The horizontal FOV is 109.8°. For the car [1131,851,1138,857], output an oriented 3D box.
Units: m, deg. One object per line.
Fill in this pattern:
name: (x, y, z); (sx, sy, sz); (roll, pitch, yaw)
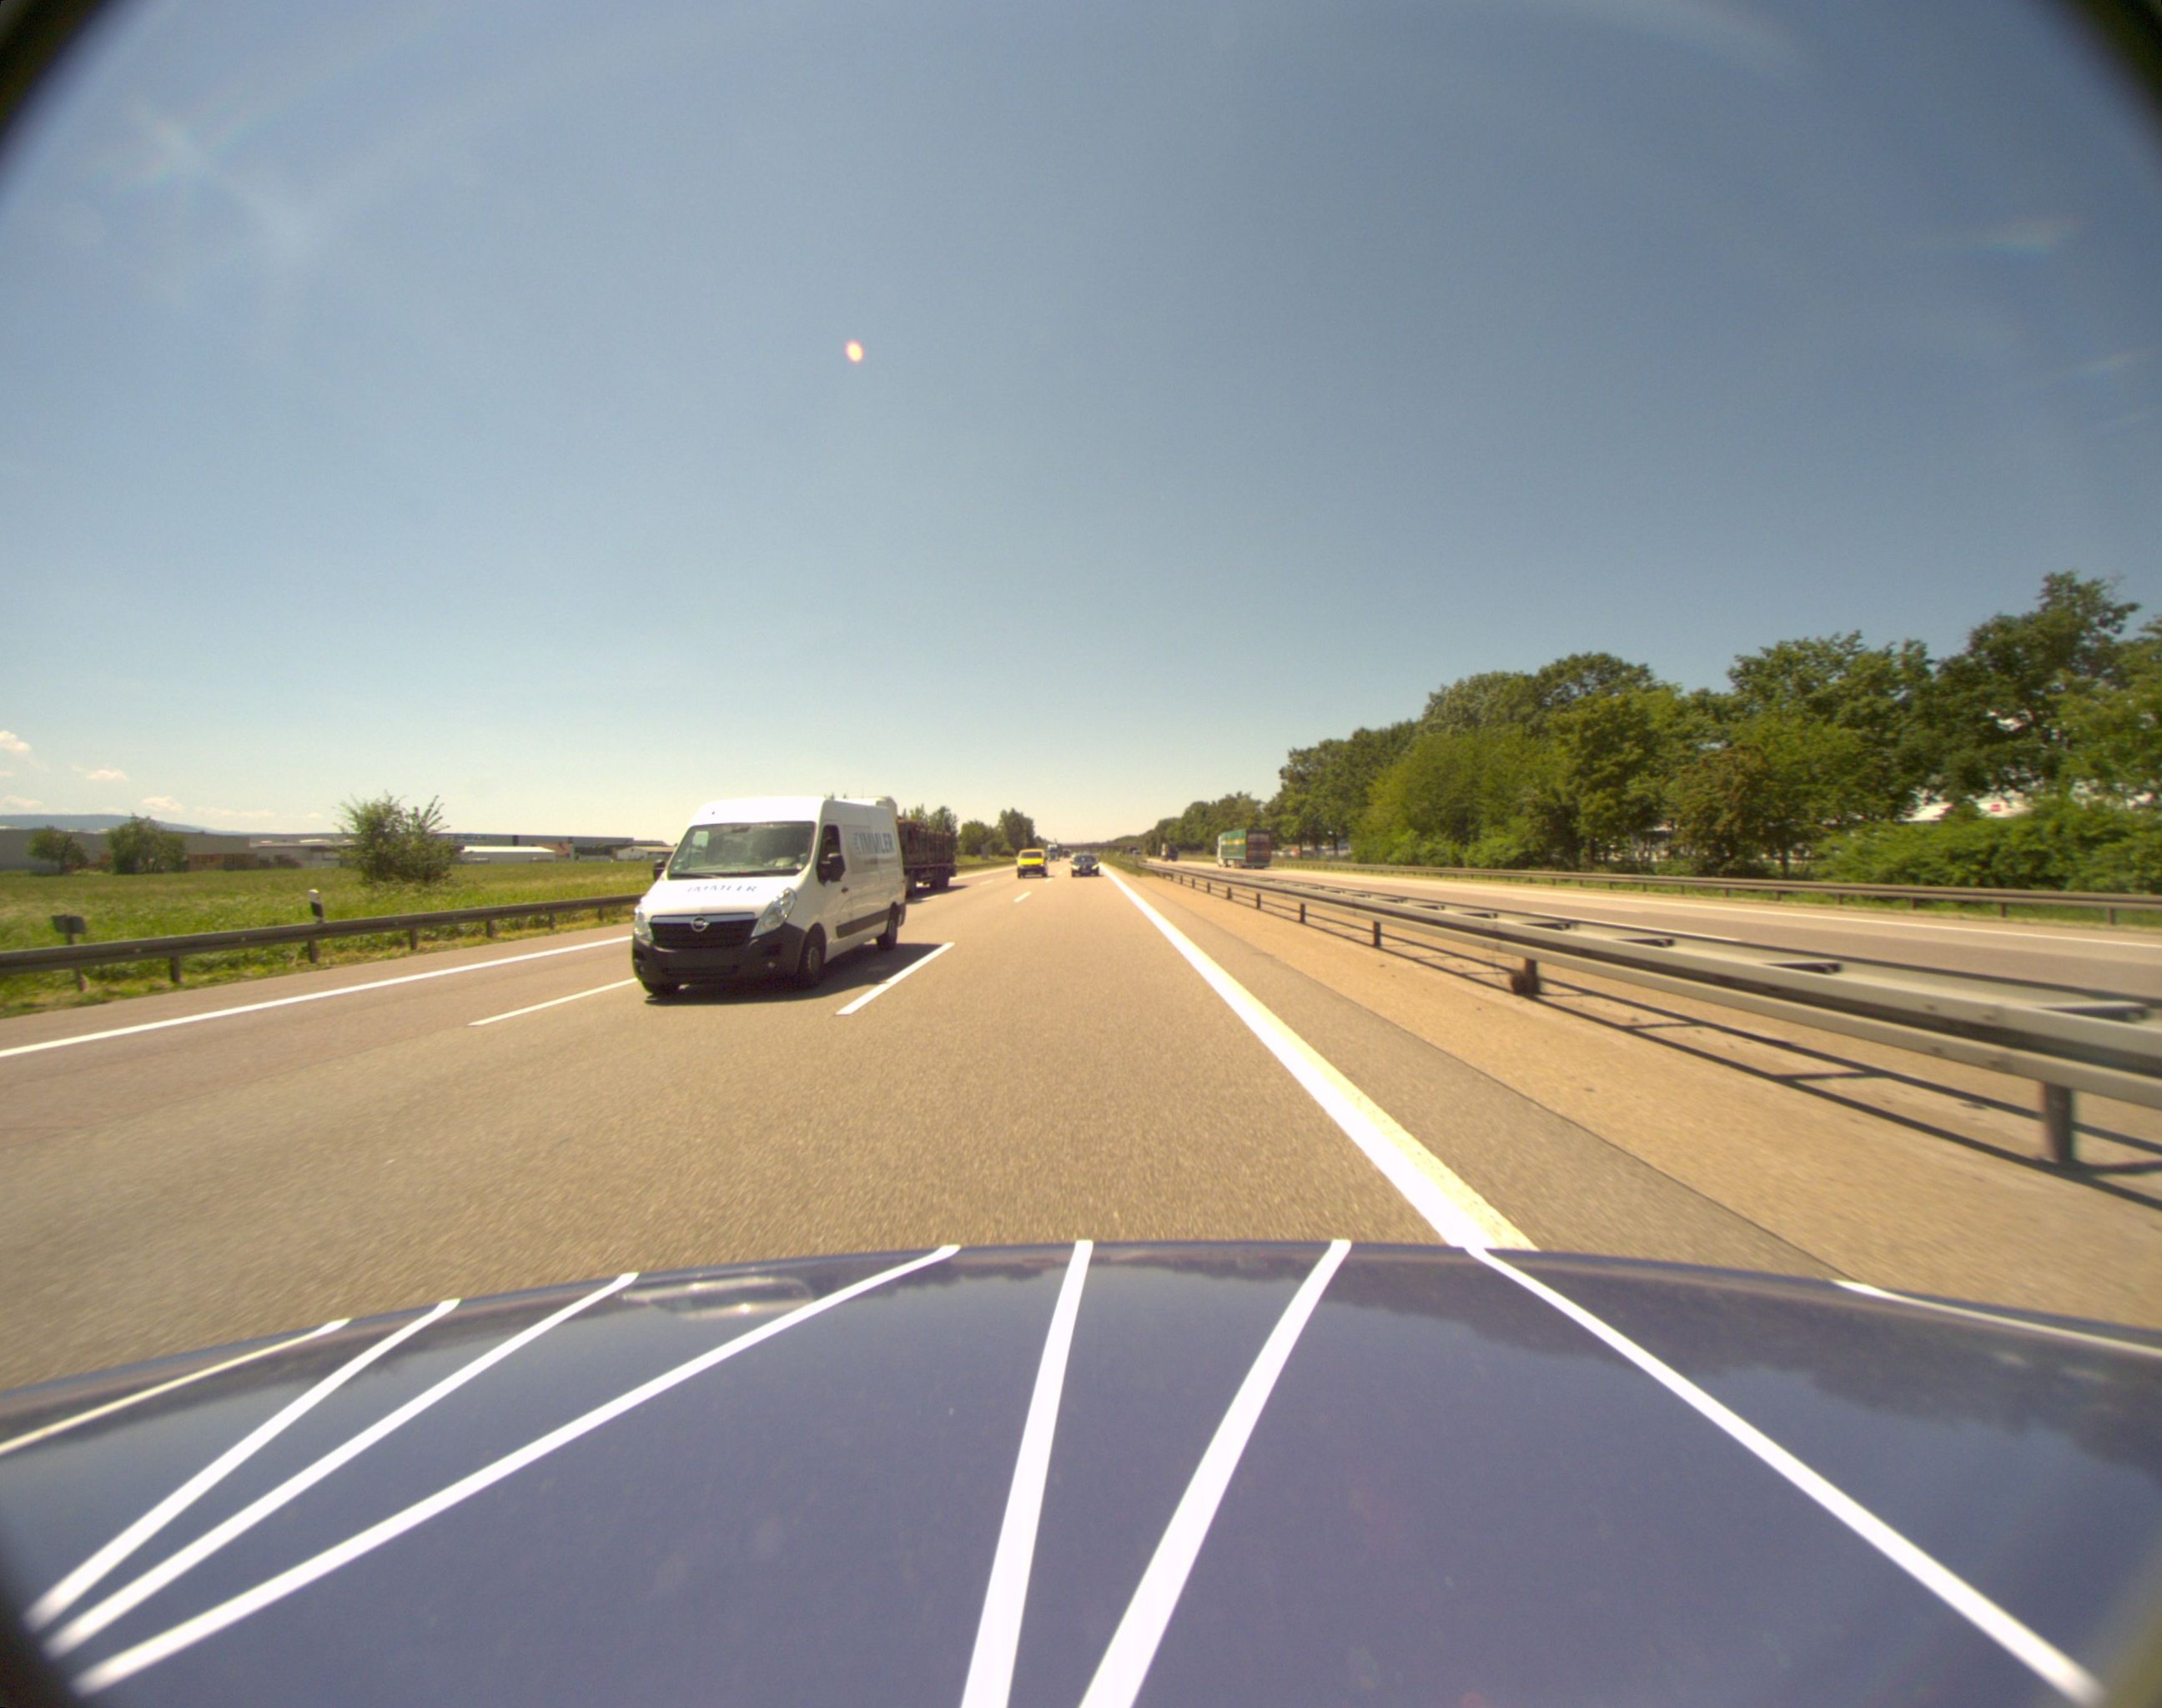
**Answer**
car: (15.250, -0.059, 216.086); (1.916, 1.695, 3.781); (1, 0, 3)

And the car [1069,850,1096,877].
car: (0.091, 0.587, 50.664); (1.690, 1.646, 3.461); (-2, 1, 0)

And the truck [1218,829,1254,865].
truck: (17.852, -0.820, 87.788); (2.884, 4.020, 6.332); (1, 1, 2)

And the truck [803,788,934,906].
truck: (-8.081, -0.264, 30.065); (2.699, 3.943, 7.703); (-2, 0, 1)

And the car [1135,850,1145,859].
car: (15.337, 0.009, 196.776); (2.318, 2.275, 5.603); (1, 0, 1)

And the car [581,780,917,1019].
car: (-4.217, 0.468, 11.164); (2.159, 2.494, 5.945); (-2, 1, 0)

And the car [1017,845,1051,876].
car: (-3.202, 0.416, 52.583); (1.958, 1.939, 3.999); (-2, 1, 0)

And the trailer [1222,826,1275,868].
trailer: (17.679, -0.746, 81.199); (2.884, 4.020, 13.680); (1, 1, 2)

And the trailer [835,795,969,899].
trailer: (-7.967, -0.304, 36.421); (2.699, 3.943, 13.960); (-2, 0, 1)

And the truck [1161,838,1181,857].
truck: (18.555, -1.389, 157.152); (3.012, 3.769, 9.600); (-1, 1, 0)

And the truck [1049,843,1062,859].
truck: (-6.338, -0.774, 186.505); (2.976, 3.626, 7.148); (-2, 1, -1)
